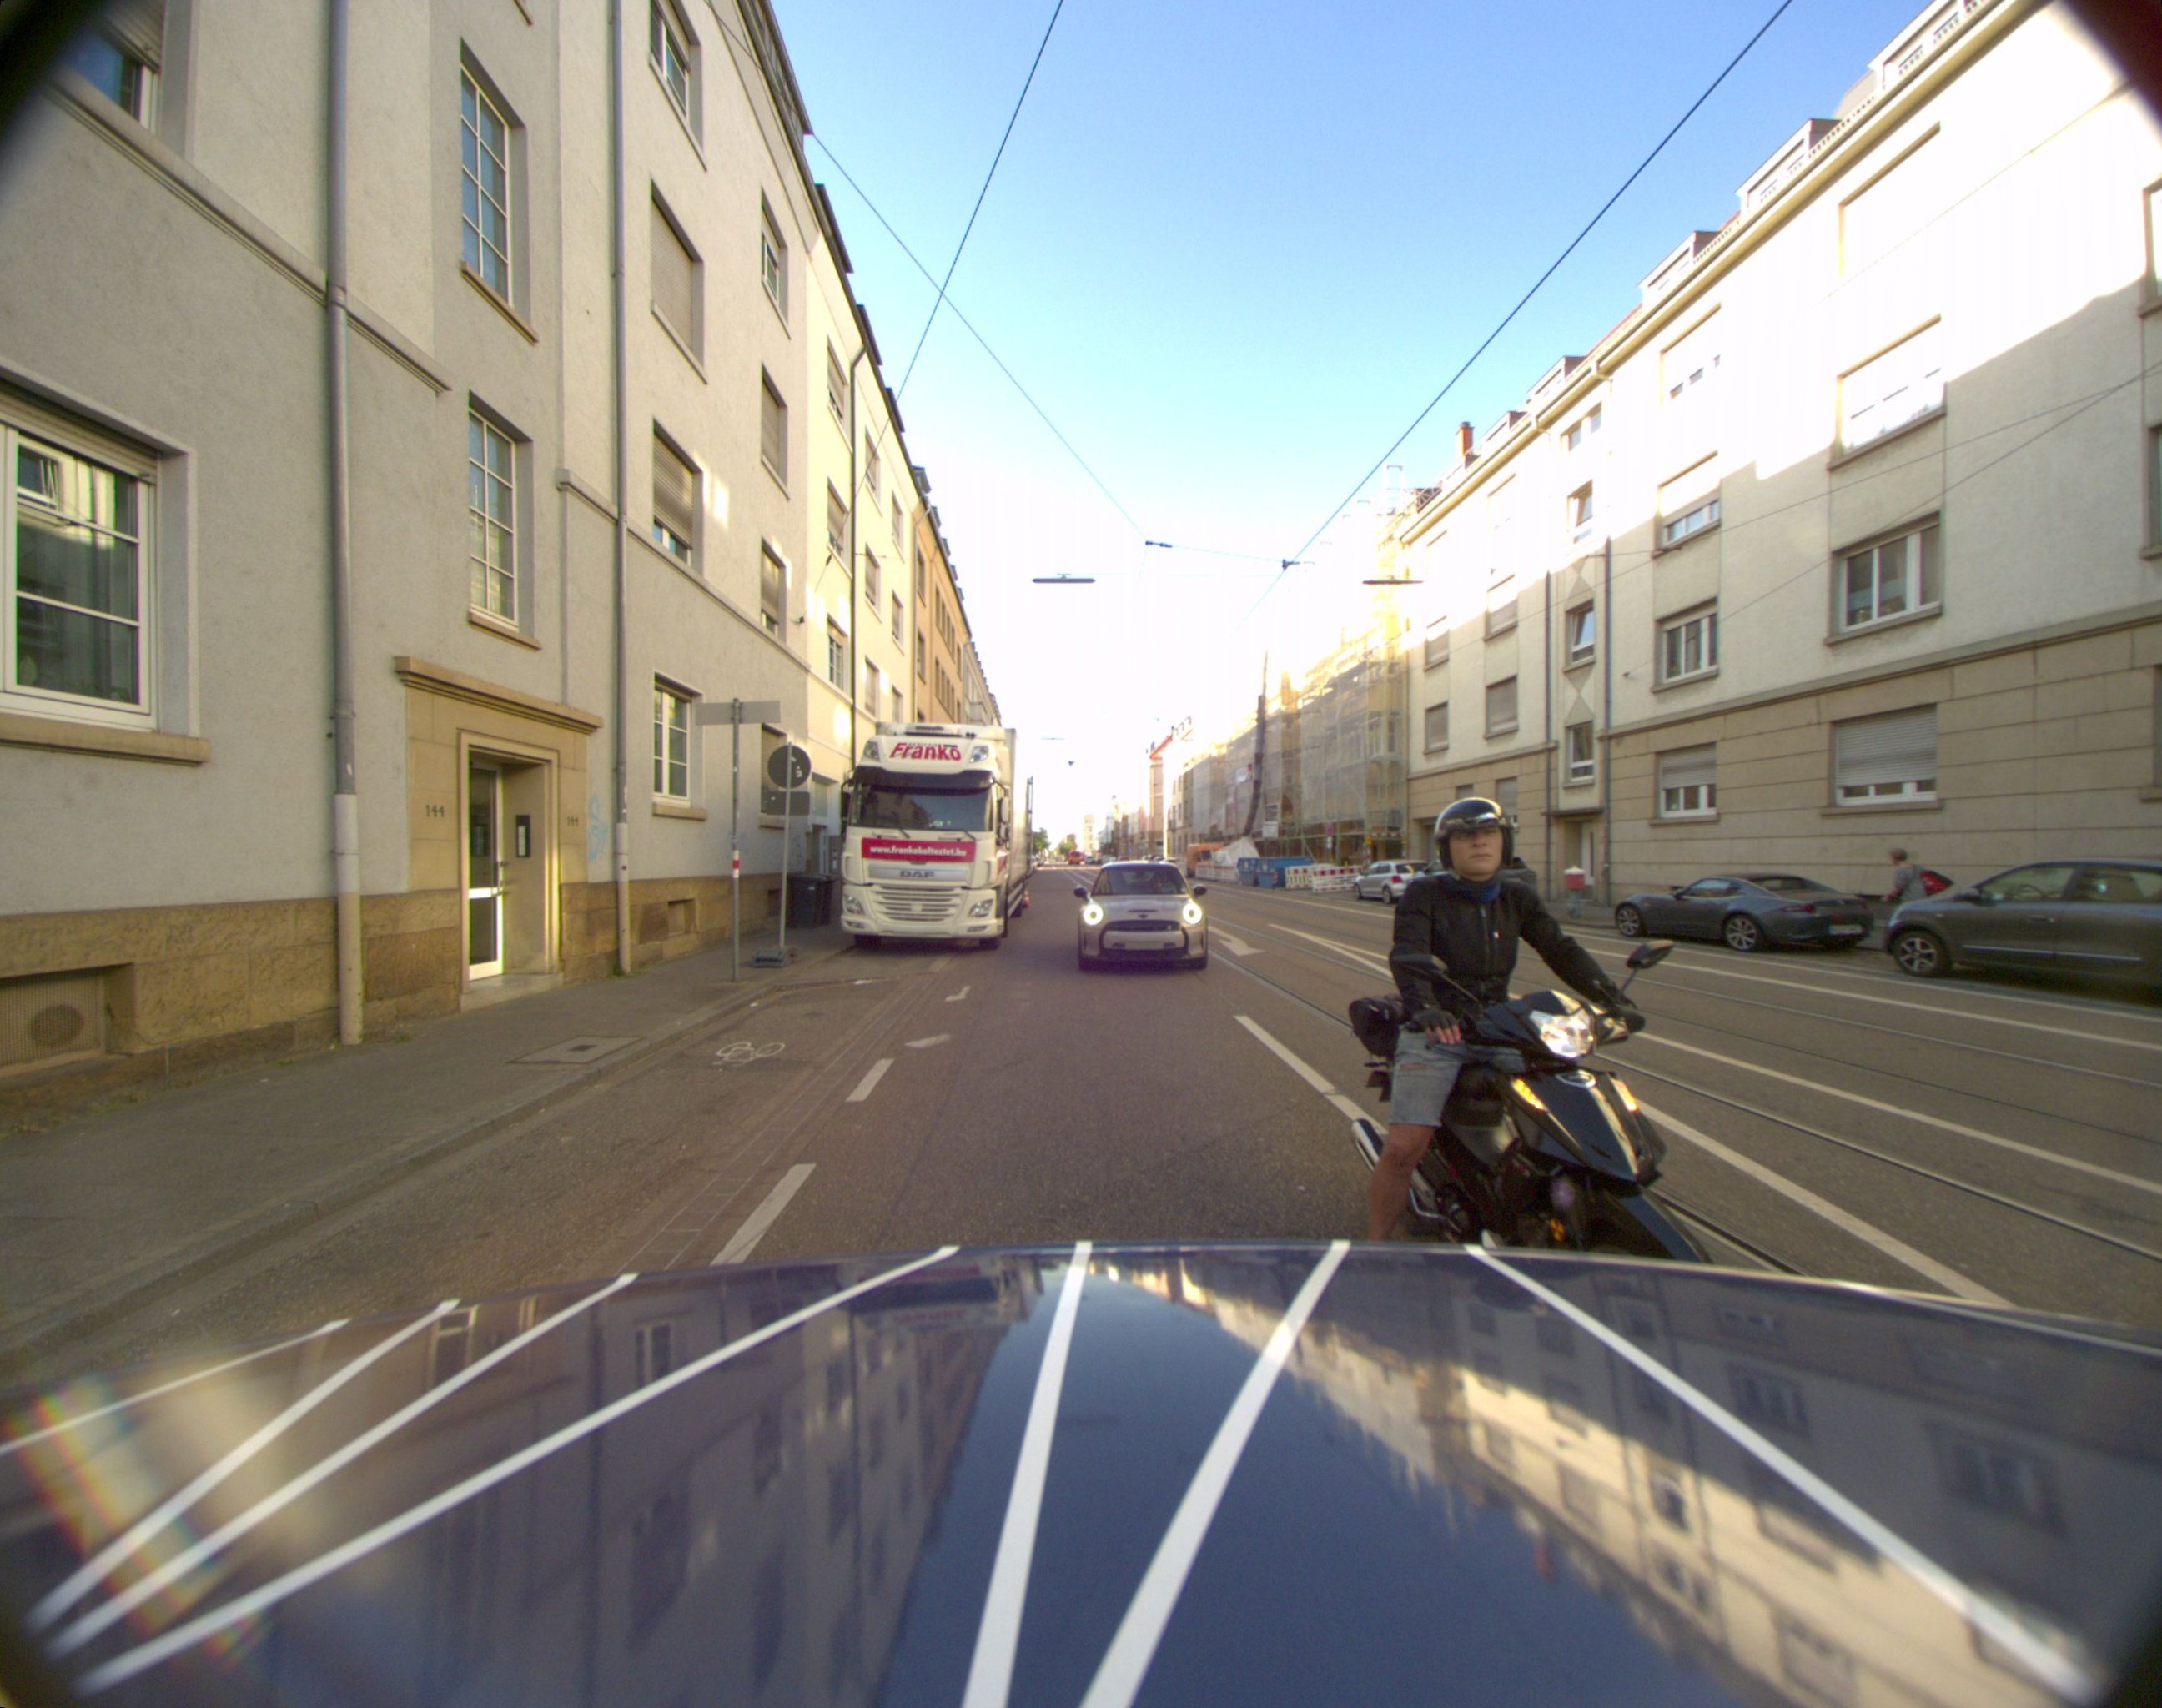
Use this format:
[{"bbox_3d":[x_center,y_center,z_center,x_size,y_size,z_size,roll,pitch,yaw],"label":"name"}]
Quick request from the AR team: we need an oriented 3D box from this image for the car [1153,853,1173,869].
[{"bbox_3d":[8.273,0.699,76.819,1.684,1.478,3.966,-2,0,1],"label":"car"}]

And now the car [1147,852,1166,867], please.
[{"bbox_3d":[8.251,0.610,83.192,1.684,1.573,3.966,-2,0,1],"label":"car"}]

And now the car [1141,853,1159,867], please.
[{"bbox_3d":[7.940,0.647,87.889,1.684,1.478,3.966,-2,0,1],"label":"car"}]

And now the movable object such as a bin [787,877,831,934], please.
[{"bbox_3d":[-5.380,1.004,15.050,0.666,1.087,0.570,0,1,-2],"label":"movable object such as a bin"}]

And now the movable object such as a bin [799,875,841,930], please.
[{"bbox_3d":[-5.396,0.996,15.719,0.666,1.087,0.570,0,1,-2],"label":"movable object such as a bin"}]

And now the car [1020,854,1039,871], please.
[{"bbox_3d":[-4.850,0.744,72.108,1.685,1.522,4.148,-2,0,-3],"label":"car"}]

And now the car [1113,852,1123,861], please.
[{"bbox_3d":[6.540,0.457,134.410,1.684,1.478,3.966,-2,0,1],"label":"car"}]

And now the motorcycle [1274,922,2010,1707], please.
[{"bbox_3d":[1.312,0.971,2.529,0.791,1.284,2.273,0,0,1],"label":"motorcycle"}]

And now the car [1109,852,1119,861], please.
[{"bbox_3d":[5.967,0.436,139.353,1.684,1.478,3.966,-2,0,1],"label":"car"}]

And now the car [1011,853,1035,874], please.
[{"bbox_3d":[-4.505,0.742,59.168,1.685,1.522,4.148,-2,0,-3],"label":"car"}]

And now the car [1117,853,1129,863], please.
[{"bbox_3d":[6.606,0.615,118.644,1.684,1.478,3.966,-2,0,1],"label":"car"}]

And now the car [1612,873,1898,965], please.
[{"bbox_3d":[11.183,0.997,12.990,1.520,1.227,3.685,-1,0,-3],"label":"car"}]

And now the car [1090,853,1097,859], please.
[{"bbox_3d":[3.322,0.577,206.899,1.684,1.478,3.965,-2,0,-1],"label":"car"}]

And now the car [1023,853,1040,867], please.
[{"bbox_3d":[-5.344,0.644,82.754,1.685,1.522,4.148,-2,0,-3],"label":"car"}]

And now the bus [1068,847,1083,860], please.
[{"bbox_3d":[-1.450,-0.054,186.734,2.755,3.095,19.156,0,0,-3],"label":"bus"}]

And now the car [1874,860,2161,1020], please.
[{"bbox_3d":[11.420,0.857,8.328,1.679,1.519,3.539,-1,0,-3],"label":"car"}]

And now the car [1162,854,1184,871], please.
[{"bbox_3d":[8.578,0.754,71.122,1.684,1.478,3.966,-2,0,1],"label":"car"}]

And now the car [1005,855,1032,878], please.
[{"bbox_3d":[-4.298,0.825,52.999,1.685,1.522,4.148,-2,0,-3],"label":"car"}]

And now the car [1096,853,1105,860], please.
[{"bbox_3d":[4.268,0.607,167.821,1.684,1.478,3.965,-2,0,-1],"label":"car"}]

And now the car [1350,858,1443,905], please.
[{"bbox_3d":[10.614,0.877,25.788,1.543,1.404,3.510,-1,0,-3],"label":"car"}]

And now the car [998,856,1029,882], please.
[{"bbox_3d":[-4.171,0.893,47.197,1.685,1.522,4.148,-2,0,-3],"label":"car"}]

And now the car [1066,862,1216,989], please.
[{"bbox_3d":[0.698,0.887,11.331,1.685,1.454,4.148,-2,0,-3],"label":"car"}]

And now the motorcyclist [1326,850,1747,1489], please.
[{"bbox_3d":[1.311,0.814,2.400,0.791,1.645,0.900,0,1,1],"label":"motorcyclist"}]

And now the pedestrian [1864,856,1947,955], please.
[{"bbox_3d":[13.157,0.795,12.145,0.570,1.532,0.693,0,1,-2],"label":"pedestrian"}]

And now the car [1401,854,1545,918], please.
[{"bbox_3d":[10.815,0.801,21.340,1.696,1.590,4.206,-1,0,-3],"label":"car"}]

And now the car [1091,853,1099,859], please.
[{"bbox_3d":[3.547,0.598,191.755,1.684,1.478,3.965,-2,0,-1],"label":"car"}]

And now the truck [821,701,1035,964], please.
[{"bbox_3d":[-2.622,-0.323,17.190,2.782,3.903,11.816,0,0,-2],"label":"truck"}]
